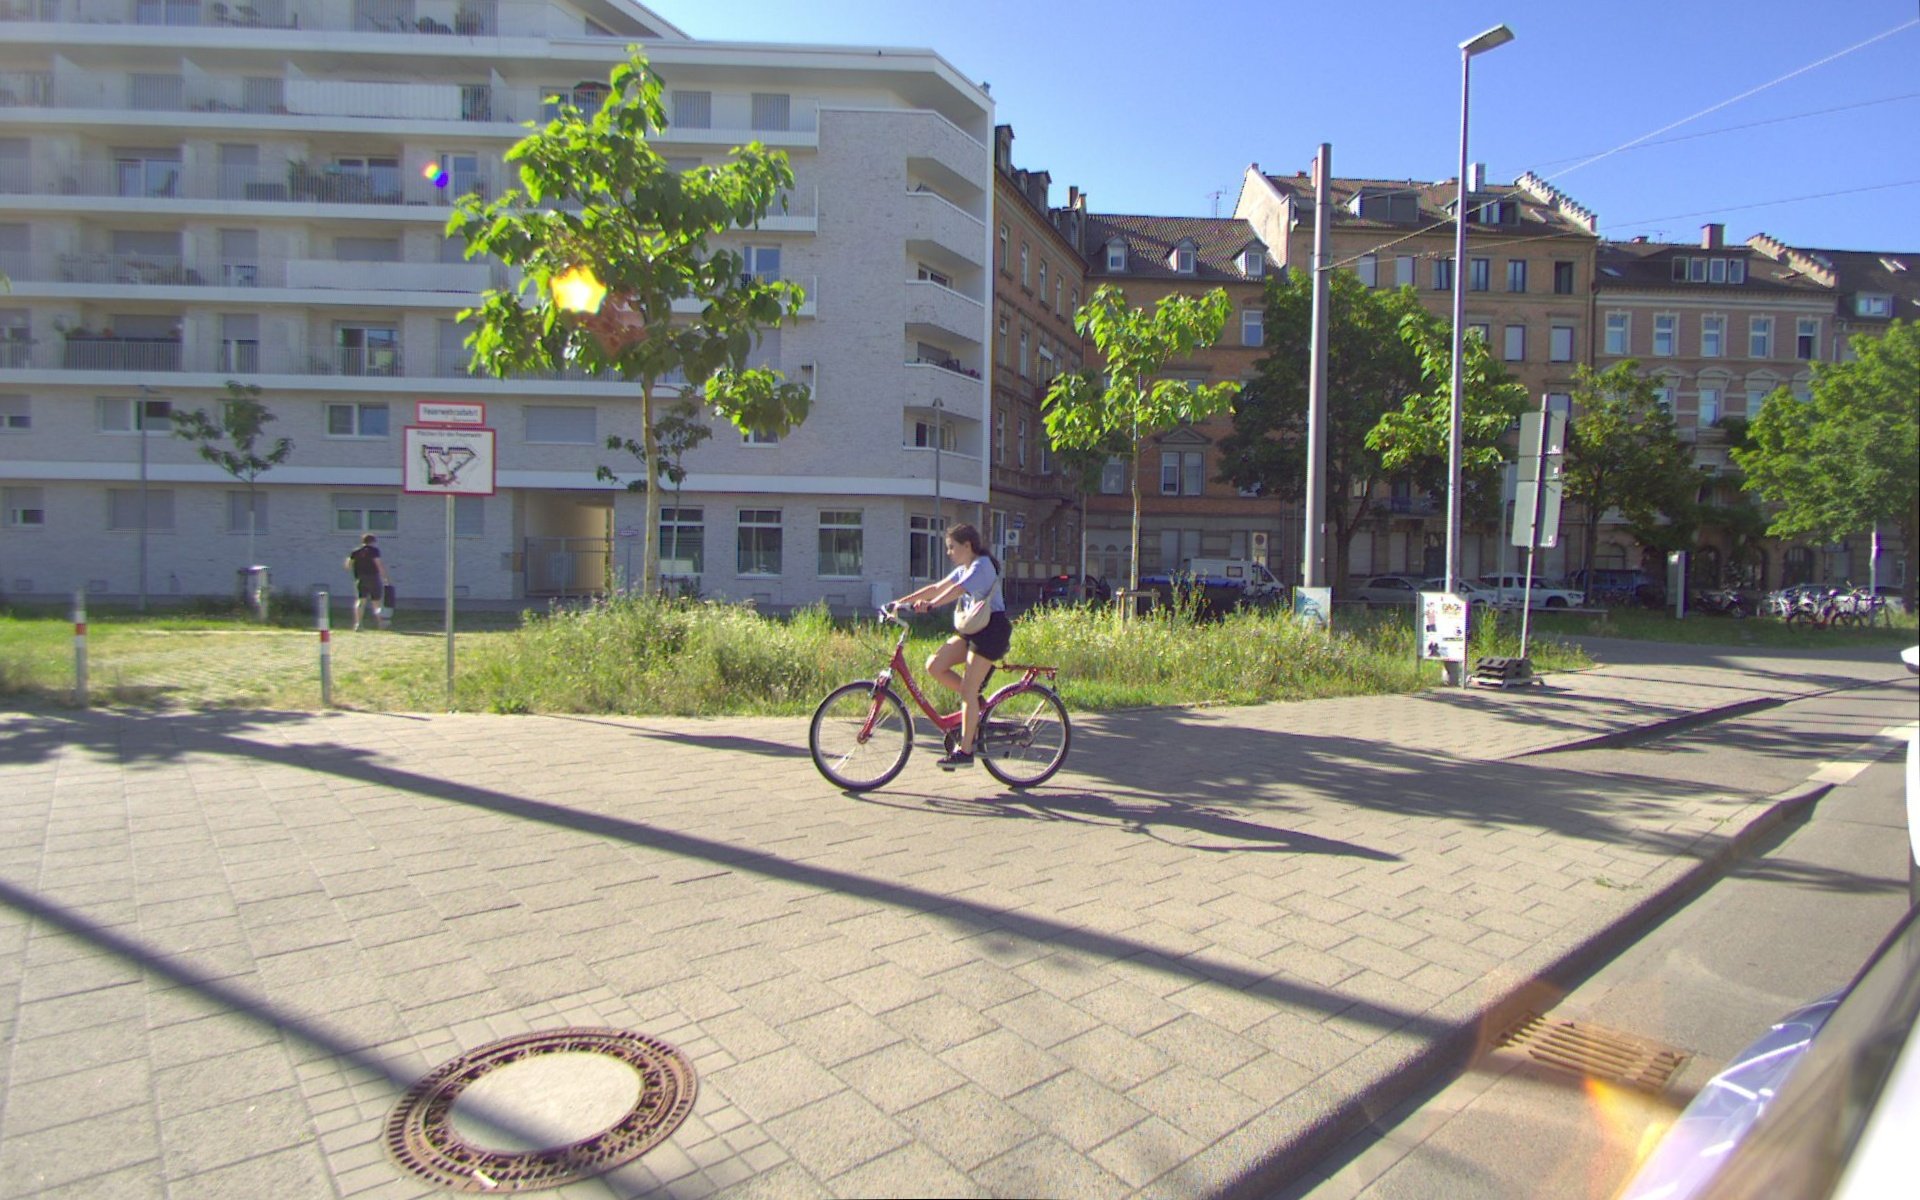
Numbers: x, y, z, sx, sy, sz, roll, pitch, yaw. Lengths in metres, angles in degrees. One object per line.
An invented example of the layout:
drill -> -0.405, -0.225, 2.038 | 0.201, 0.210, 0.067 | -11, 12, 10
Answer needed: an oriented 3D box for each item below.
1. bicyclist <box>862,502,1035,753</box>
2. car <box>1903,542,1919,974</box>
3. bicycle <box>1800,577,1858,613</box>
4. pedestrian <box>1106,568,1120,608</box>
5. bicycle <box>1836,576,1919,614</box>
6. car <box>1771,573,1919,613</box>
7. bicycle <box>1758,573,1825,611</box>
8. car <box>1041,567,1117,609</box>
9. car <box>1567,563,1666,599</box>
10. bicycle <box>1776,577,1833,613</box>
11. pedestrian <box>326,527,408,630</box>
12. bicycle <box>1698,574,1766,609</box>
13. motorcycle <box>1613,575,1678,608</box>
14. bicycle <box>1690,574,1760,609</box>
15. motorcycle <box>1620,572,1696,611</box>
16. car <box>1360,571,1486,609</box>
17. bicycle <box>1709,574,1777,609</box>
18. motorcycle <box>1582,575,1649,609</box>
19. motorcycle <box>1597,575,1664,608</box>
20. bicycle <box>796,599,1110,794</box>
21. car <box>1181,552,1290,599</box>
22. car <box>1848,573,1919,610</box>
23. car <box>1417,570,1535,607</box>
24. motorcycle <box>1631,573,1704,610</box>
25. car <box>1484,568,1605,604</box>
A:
bicyclist -> -0.091, 0.154, 6.287 | 0.920, 1.454, 0.670 | 0, 1, -14
car -> 5.868, 0.608, 4.720 | 4.323, 1.667, 1.840 | 0, 0, -43
bicycle -> 32.034, -0.194, 37.338 | 0.653, 1.284, 2.196 | 0, 0, 12
pedestrian -> 5.726, -0.449, 37.876 | 0.500, 1.474, 0.480 | 0, 0, 11
bicycle -> 31.629, -0.167, 34.767 | 2.180, 1.284, 0.657 | 0, 0, 25
car -> 34.685, -0.322, 39.596 | 1.651, 1.423, 4.324 | -1, 3, -38
bicycle -> 29.273, -0.293, 35.677 | 0.651, 1.284, 2.202 | 0, 0, 4
car -> 4.566, -0.507, 38.302 | 1.811, 1.444, 4.359 | 1, 2, 21
car -> 30.875, -0.923, 47.653 | 3.631, 1.607, 1.552 | 1, 2, 0
bicycle -> 30.940, -0.187, 37.114 | 0.653, 1.284, 2.196 | 0, 0, 12
pedestrian -> -10.415, -0.386, 17.810 | 0.829, 1.717, 0.985 | 2, 2, 2
bicycle -> 29.080, -0.321, 38.156 | 0.649, 1.284, 2.208 | 0, 0, -9
motorcycle -> 27.487, -0.337, 40.615 | 0.649, 1.284, 2.209 | 0, 0, -18
bicycle -> 28.369, -0.312, 37.568 | 0.649, 1.284, 2.208 | 0, 0, -11
motorcycle -> 25.338, -0.308, 36.783 | 0.650, 1.347, 2.207 | 0, 0, -28
car -> 17.348, -0.424, 38.111 | 1.648, 1.267, 4.170 | 0, 3, -28
bicycle -> 29.723, -0.328, 38.467 | 0.649, 1.284, 2.208 | 0, 0, -9
motorcycle -> 26.026, -0.330, 40.229 | 0.649, 1.293, 2.324 | 0, 0, -18
motorcycle -> 26.696, -0.338, 40.361 | 0.649, 1.300, 2.324 | 0, 0, -18
bicycle -> -0.060, 0.587, 6.265 | 1.782, 1.085, 0.670 | 3, 0, -15
car -> 12.660, -1.157, 46.787 | 4.416, 2.062, 2.054 | 1, 2, 0
car -> 37.821, -0.331, 39.965 | 1.649, 1.423, 3.832 | -1, 3, -32
car -> 19.671, -0.470, 38.721 | 1.648, 1.267, 3.709 | 0, 3, -28
motorcycle -> 26.153, -0.323, 37.472 | 0.649, 1.339, 2.208 | 0, 0, -23
car -> 22.328, -0.580, 38.777 | 1.513, 1.267, 3.700 | -1, 3, -39
